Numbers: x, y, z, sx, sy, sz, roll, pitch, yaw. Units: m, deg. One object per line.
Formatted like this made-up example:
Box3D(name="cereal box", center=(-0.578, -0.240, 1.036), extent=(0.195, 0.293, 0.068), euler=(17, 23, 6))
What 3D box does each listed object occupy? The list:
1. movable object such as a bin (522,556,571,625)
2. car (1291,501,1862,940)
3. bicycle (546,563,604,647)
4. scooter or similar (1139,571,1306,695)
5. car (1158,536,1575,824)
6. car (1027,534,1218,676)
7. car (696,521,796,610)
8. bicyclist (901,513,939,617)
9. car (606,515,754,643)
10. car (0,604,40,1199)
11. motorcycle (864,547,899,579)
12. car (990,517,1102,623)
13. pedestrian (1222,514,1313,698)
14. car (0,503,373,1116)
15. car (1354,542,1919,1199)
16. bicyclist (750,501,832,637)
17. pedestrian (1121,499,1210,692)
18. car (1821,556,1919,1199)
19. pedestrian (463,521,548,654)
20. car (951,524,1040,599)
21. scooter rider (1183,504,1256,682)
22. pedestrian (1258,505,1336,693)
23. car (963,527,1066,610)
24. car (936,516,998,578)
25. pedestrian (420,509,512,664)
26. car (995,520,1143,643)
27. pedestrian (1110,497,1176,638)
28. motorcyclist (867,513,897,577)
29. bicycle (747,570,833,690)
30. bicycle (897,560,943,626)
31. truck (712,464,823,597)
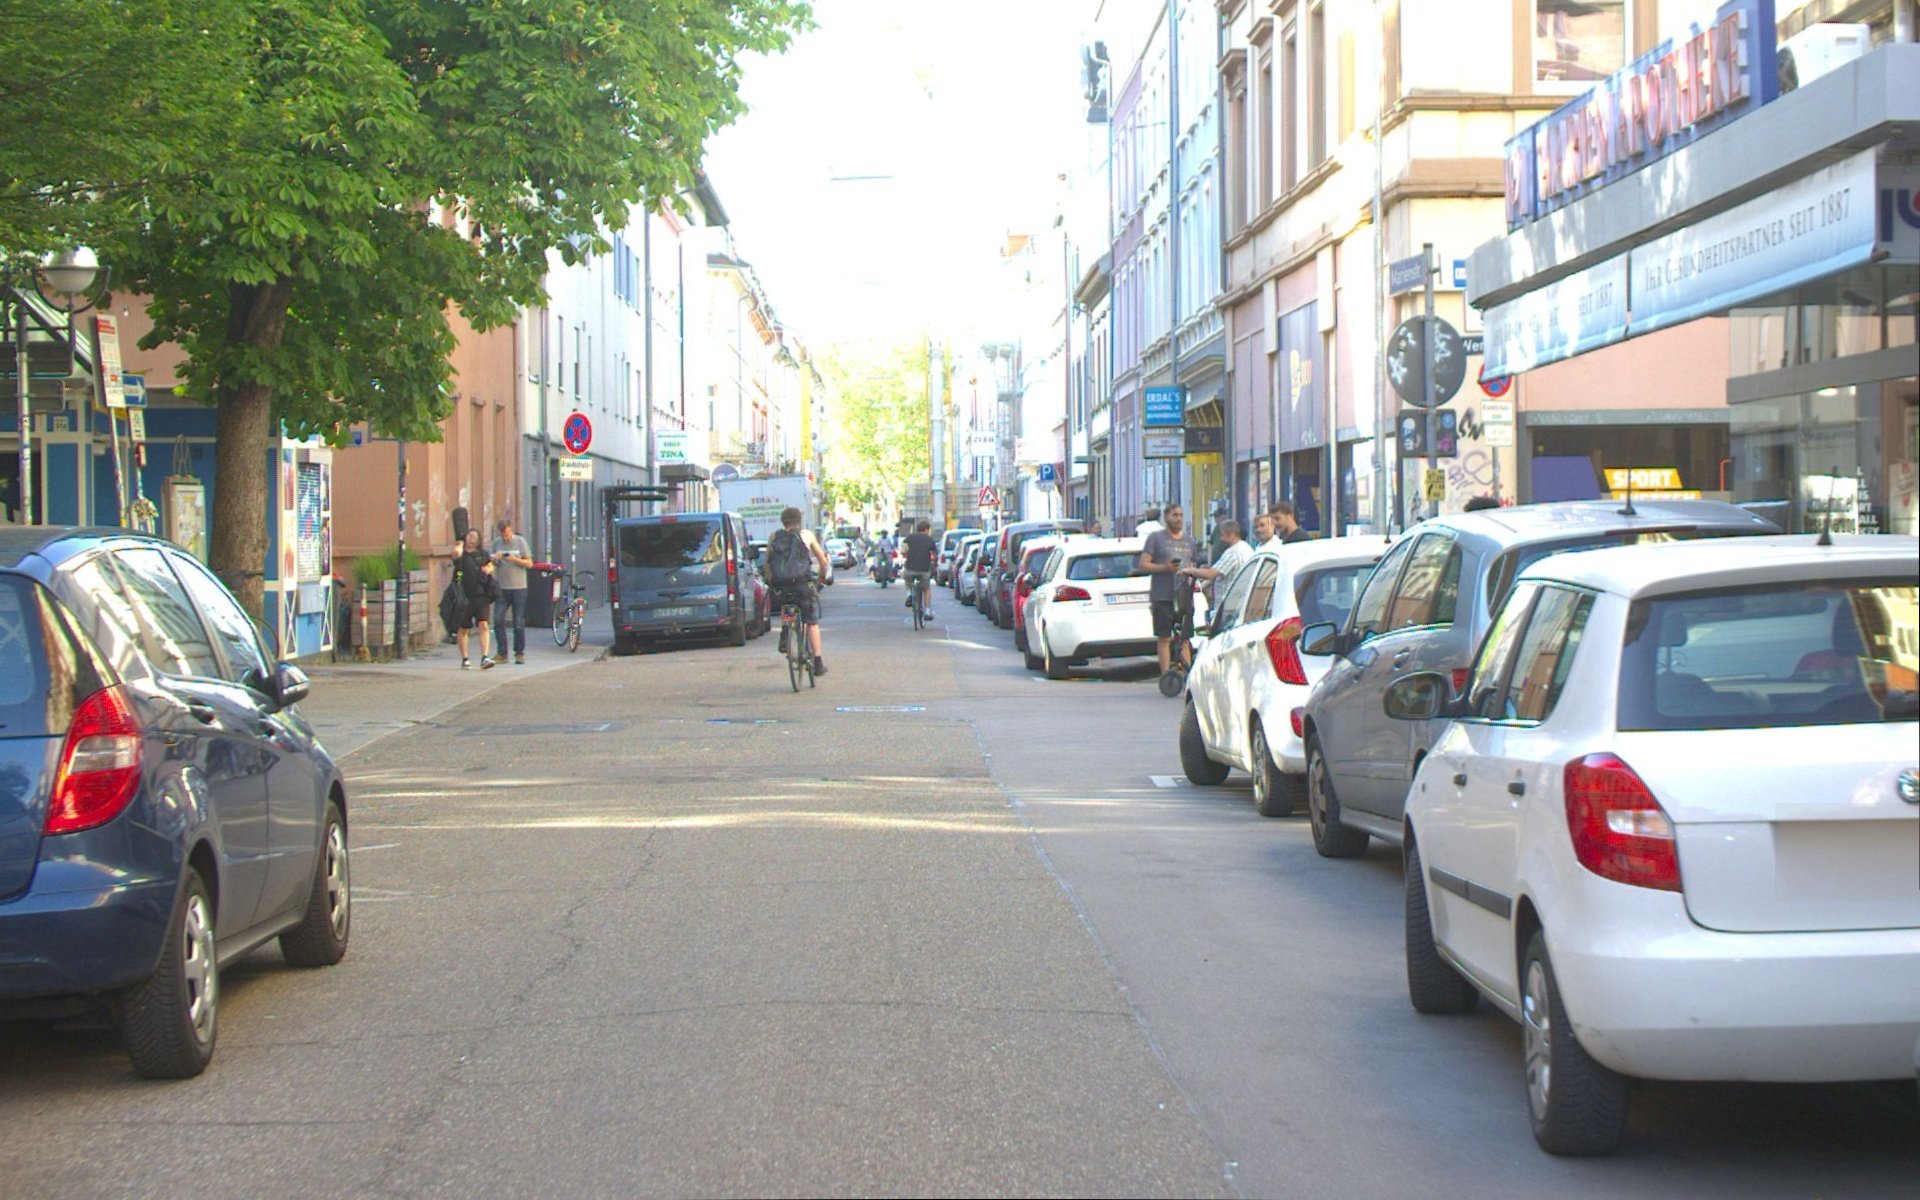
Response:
Box3D(name="movable object such as a bin", center=(-6.910, -0.159, 57.432), extent=(0.714, 1.138, 0.583), euler=(0, 1, 3))
Box3D(name="car", center=(2.511, 0.413, 14.924), extent=(1.716, 1.640, 4.000), euler=(0, 1, -1))
Box3D(name="bicycle", center=(-5.283, 0.060, 47.152), extent=(0.644, 1.105, 1.605), euler=(-1, 1, -12))
Box3D(name="scooter or similar", center=(2.449, 0.305, 32.027), extent=(1.530, 1.135, 0.601), euler=(0, 1, 5))
Box3D(name="car", center=(2.233, 0.380, 19.846), extent=(1.716, 1.483, 3.870), euler=(0, 1, -4))
Box3D(name="car", center=(1.747, 0.013, 38.124), extent=(1.897, 1.483, 3.870), euler=(0, 1, -1))
Box3D(name="car", center=(-4.451, -0.739, 71.890), extent=(1.875, 1.790, 4.000), euler=(0, 1, -1))
Box3D(name="bicyclist", center=(-0.657, -0.576, 56.352), extent=(0.605, 1.682, 0.885), euler=(0, 1, -1))
Box3D(name="car", center=(-4.048, -0.338, 50.241), extent=(1.875, 1.790, 4.000), euler=(0, 1, -1))
Box3D(name="car", center=(-3.000, 0.746, 6.026), extent=(1.570, 1.393, 3.808), euler=(-4, 1, 2))
Box3D(name="motorcycle", center=(-2.488, -1.187, 108.891), extent=(1.042, 0.977, 2.825), euler=(0, 1, -3))
Box3D(name="car", center=(1.446, -0.546, 58.949), extent=(1.769, 1.735, 4.000), euler=(0, 1, -1))
Box3D(name="pedestrian", center=(2.784, 0.048, 31.081), extent=(0.542, 1.636, 0.607), euler=(-1, 1, -41))
Box3D(name="car", center=(-2.996, 0.549, 11.009), extent=(1.600, 1.608, 3.809), euler=(-3, 1, -1))
Box3D(name="car", center=(2.143, 0.606, 9.677), extent=(1.603, 1.499, 4.000), euler=(1, 1, 0))
Box3D(name="bicyclist", center=(-1.643, -0.306, 33.520), extent=(0.755, 1.302, 1.062), euler=(0, 1, -1))
Box3D(name="pedestrian", center=(1.980, -0.053, 33.161), extent=(0.681, 1.837, 0.695), euler=(0, 1, -12))
Box3D(name="car", center=(2.480, 0.711, 4.887), extent=(1.569, 1.490, 3.653), euler=(1, 1, 0))
Box3D(name="pedestrian", center=(-5.674, -0.161, 42.957), extent=(0.929, 1.631, 0.806), euler=(0, 1, 0))
Box3D(name="car", center=(0.836, -0.945, 82.813), extent=(1.993, 1.680, 4.000), euler=(2, 1, -1))
Box3D(name="scooter rider", center=(2.423, -0.067, 32.029), extent=(0.650, 1.636, 0.683), euler=(0, 1, 6))
Box3D(name="pedestrian", center=(2.961, -0.017, 30.194), extent=(0.456, 1.636, 0.502), euler=(-1, 1, -41))
Box3D(name="car", center=(1.113, -0.678, 72.168), extent=(1.993, 1.626, 4.000), euler=(2, 1, -1))
Box3D(name="car", center=(0.204, -1.774, 114.508), extent=(1.993, 2.007, 4.000), euler=(0, 1, -1))
Box3D(name="pedestrian", center=(-5.711, -0.162, 39.811), extent=(0.929, 1.780, 0.806), euler=(0, 1, 0))
Box3D(name="car", center=(1.494, -0.289, 48.344), extent=(1.897, 1.645, 4.000), euler=(0, 1, -1))
Box3D(name="pedestrian", center=(2.417, -0.431, 45.336), extent=(0.783, 1.837, 1.011), euler=(1, 1, 8))
Box3D(name="motorcyclist", center=(-2.483, -1.754, 108.917), extent=(0.902, 2.007, 1.190), euler=(0, 1, -3))
Box3D(name="bicycle", center=(-1.648, 0.278, 33.557), extent=(0.765, 1.106, 1.948), euler=(0, 1, -1))
Box3D(name="bicycle", center=(-0.657, -0.129, 56.356), extent=(0.739, 1.040, 1.859), euler=(0, 1, -1))
Box3D(name="truck", center=(-4.896, -1.799, 88.473), extent=(2.532, 3.270, 6.995), euler=(0, 1, -1))
